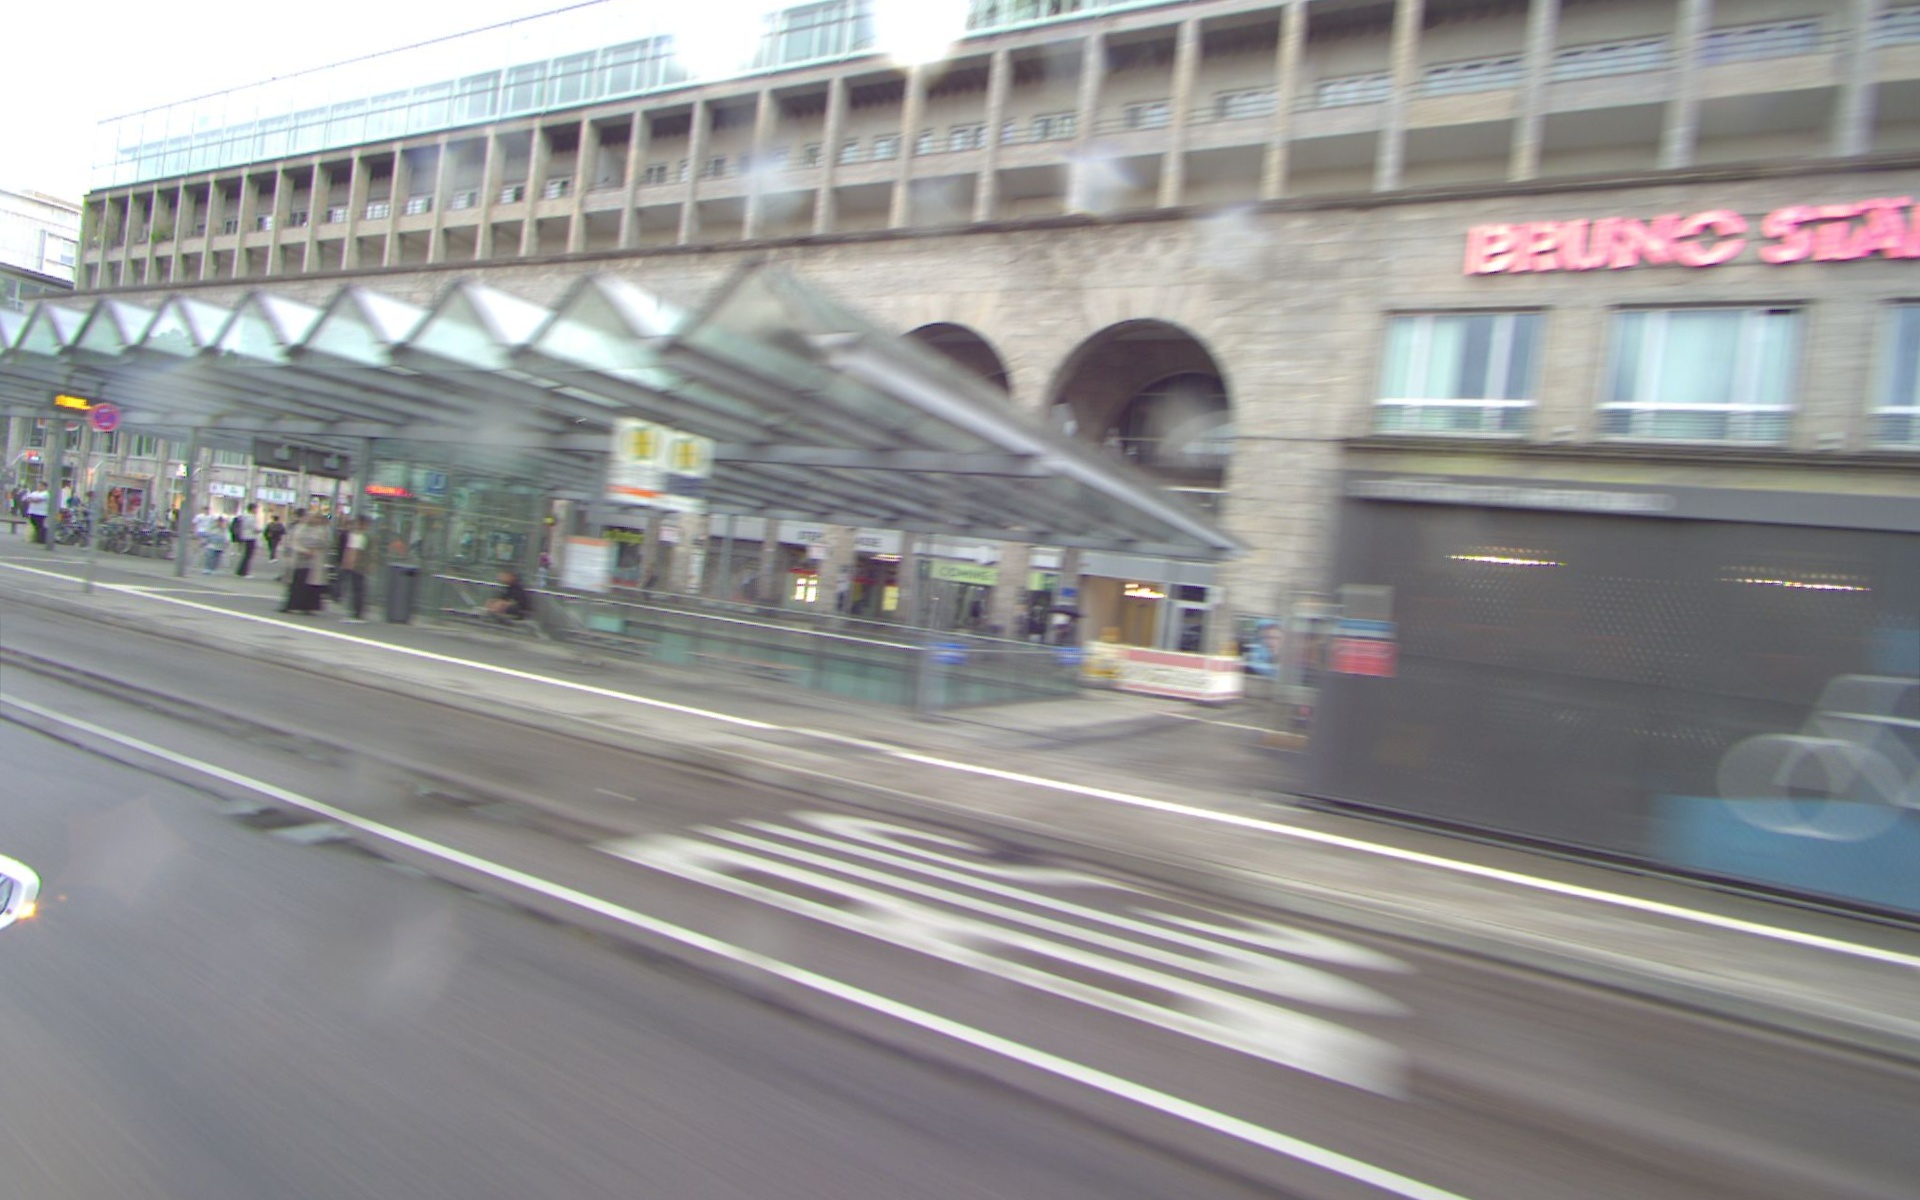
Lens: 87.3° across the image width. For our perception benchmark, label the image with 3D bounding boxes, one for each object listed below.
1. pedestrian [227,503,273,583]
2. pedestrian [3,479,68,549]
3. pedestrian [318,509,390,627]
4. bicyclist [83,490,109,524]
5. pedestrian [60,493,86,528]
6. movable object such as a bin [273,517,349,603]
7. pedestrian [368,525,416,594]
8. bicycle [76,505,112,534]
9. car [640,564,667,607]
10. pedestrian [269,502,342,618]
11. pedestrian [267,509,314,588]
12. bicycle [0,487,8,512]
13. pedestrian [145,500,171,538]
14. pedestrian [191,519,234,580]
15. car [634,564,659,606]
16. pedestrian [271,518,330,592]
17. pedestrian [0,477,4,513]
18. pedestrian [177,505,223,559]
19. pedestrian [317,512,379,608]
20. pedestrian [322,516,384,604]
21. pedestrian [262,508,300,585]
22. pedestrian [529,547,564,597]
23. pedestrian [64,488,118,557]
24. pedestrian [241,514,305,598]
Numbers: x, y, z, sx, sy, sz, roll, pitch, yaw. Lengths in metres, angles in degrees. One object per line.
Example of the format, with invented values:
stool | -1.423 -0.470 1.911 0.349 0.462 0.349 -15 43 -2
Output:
pedestrian | -17.746 -1.421 25.142 0.615 1.882 0.607 7 0 36
pedestrian | -26.585 -2.460 28.954 0.974 1.827 0.788 6 1 -1
pedestrian | -10.104 -0.522 16.786 0.630 1.859 0.628 7 0 30
bicyclist | -44.038 -4.748 51.277 0.892 1.574 0.651 7 1 29
pedestrian | -49.382 -4.983 56.024 0.775 1.814 0.732 7 1 27
movable object such as a bin | -13.951 -0.844 21.631 1.029 1.672 0.665 7 0 4
pedestrian | -16.206 -1.141 28.712 0.739 1.853 0.761 7 0 -2
bicycle | -44.230 -4.119 51.363 1.979 1.270 0.660 7 0 29
car | -11.730 -0.541 38.544 0.558 1.557 0.590 6 -1 30
pedestrian | -11.120 -0.668 17.101 0.564 1.859 0.677 7 0 29
pedestrian | -16.751 -1.277 25.177 0.582 1.853 0.607 7 0 -2
bicycle | -67.338 -7.081 70.339 1.964 1.654 0.616 7 0 35
pedestrian | -40.932 -4.127 51.347 0.776 1.814 0.653 7 1 31
pedestrian | -18.447 -1.247 24.833 0.499 1.394 0.553 7 0 23
car | -12.159 -0.578 39.054 0.463 1.557 0.590 6 -1 30
pedestrian | -15.887 -1.078 24.237 0.748 1.627 0.752 7 0 23
pedestrian | -19.801 -1.679 19.858 0.980 1.711 0.762 7 0 7
pedestrian | -26.921 -2.396 35.654 0.974 1.715 0.853 7 0 -22
pedestrian | -12.630 -0.826 20.756 0.751 1.859 0.749 7 0 43
pedestrian | -13.922 -0.909 23.084 0.748 1.871 0.752 7 0 24
pedestrian | -17.555 -1.389 26.013 0.591 1.897 0.586 7 0 -30
pedestrian | -15.477 -1.044 37.657 0.740 1.731 0.761 7 0 28
pedestrian | -23.714 -2.108 27.452 0.886 1.715 0.749 7 0 31
pedestrian | -14.806 -0.936 21.698 0.667 1.675 0.762 7 0 4
